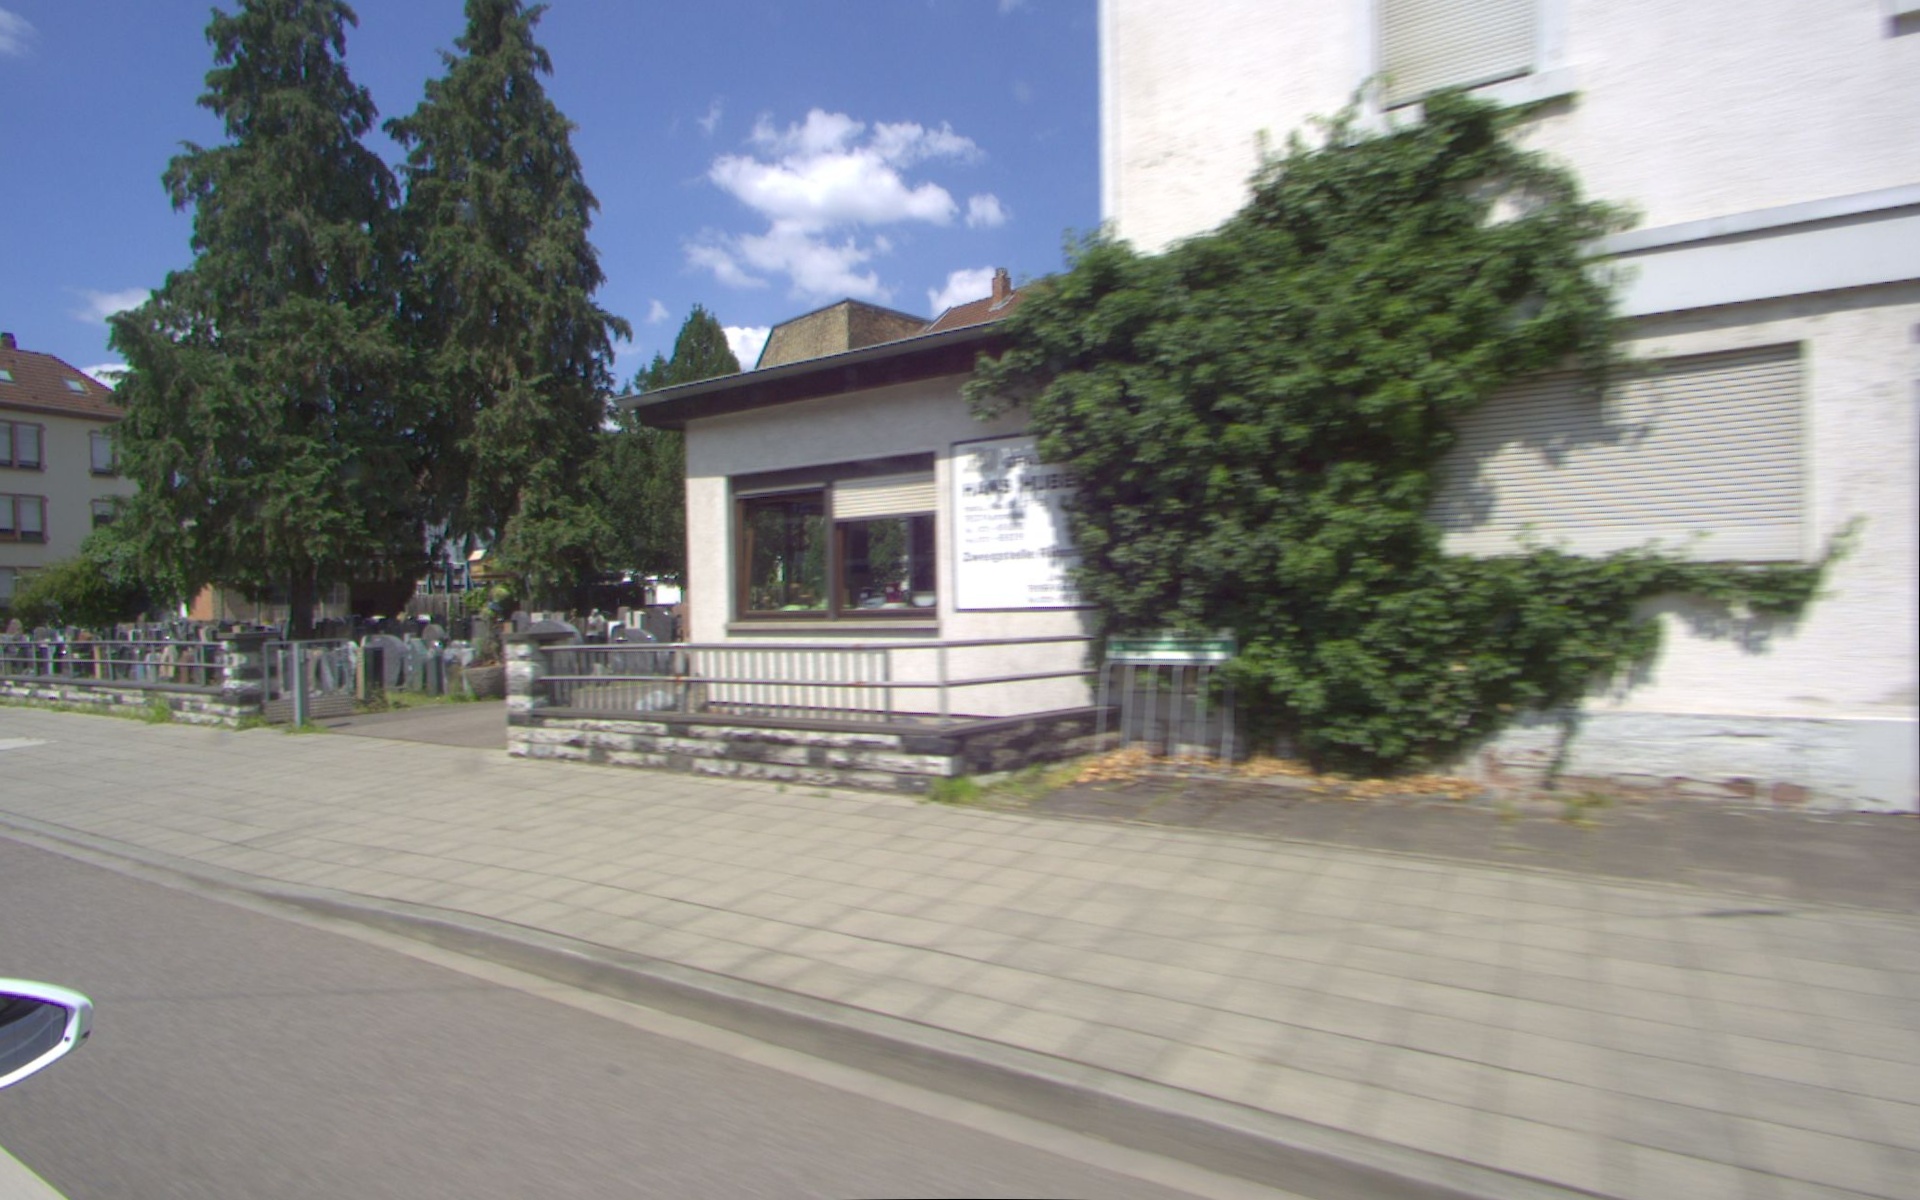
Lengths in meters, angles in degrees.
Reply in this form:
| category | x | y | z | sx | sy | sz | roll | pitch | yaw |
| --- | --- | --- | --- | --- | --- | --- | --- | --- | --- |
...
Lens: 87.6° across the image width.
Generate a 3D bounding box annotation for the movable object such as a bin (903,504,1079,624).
| category | x | y | z | sx | sy | sz | roll | pitch | yaw |
| --- | --- | --- | --- | --- | --- | --- | --- | --- | --- |
| movable object such as a bin | 0.715 | -0.819 | 23.905 | 3.756 | 2.656 | 1.734 | -1 | 3 | 33 |
